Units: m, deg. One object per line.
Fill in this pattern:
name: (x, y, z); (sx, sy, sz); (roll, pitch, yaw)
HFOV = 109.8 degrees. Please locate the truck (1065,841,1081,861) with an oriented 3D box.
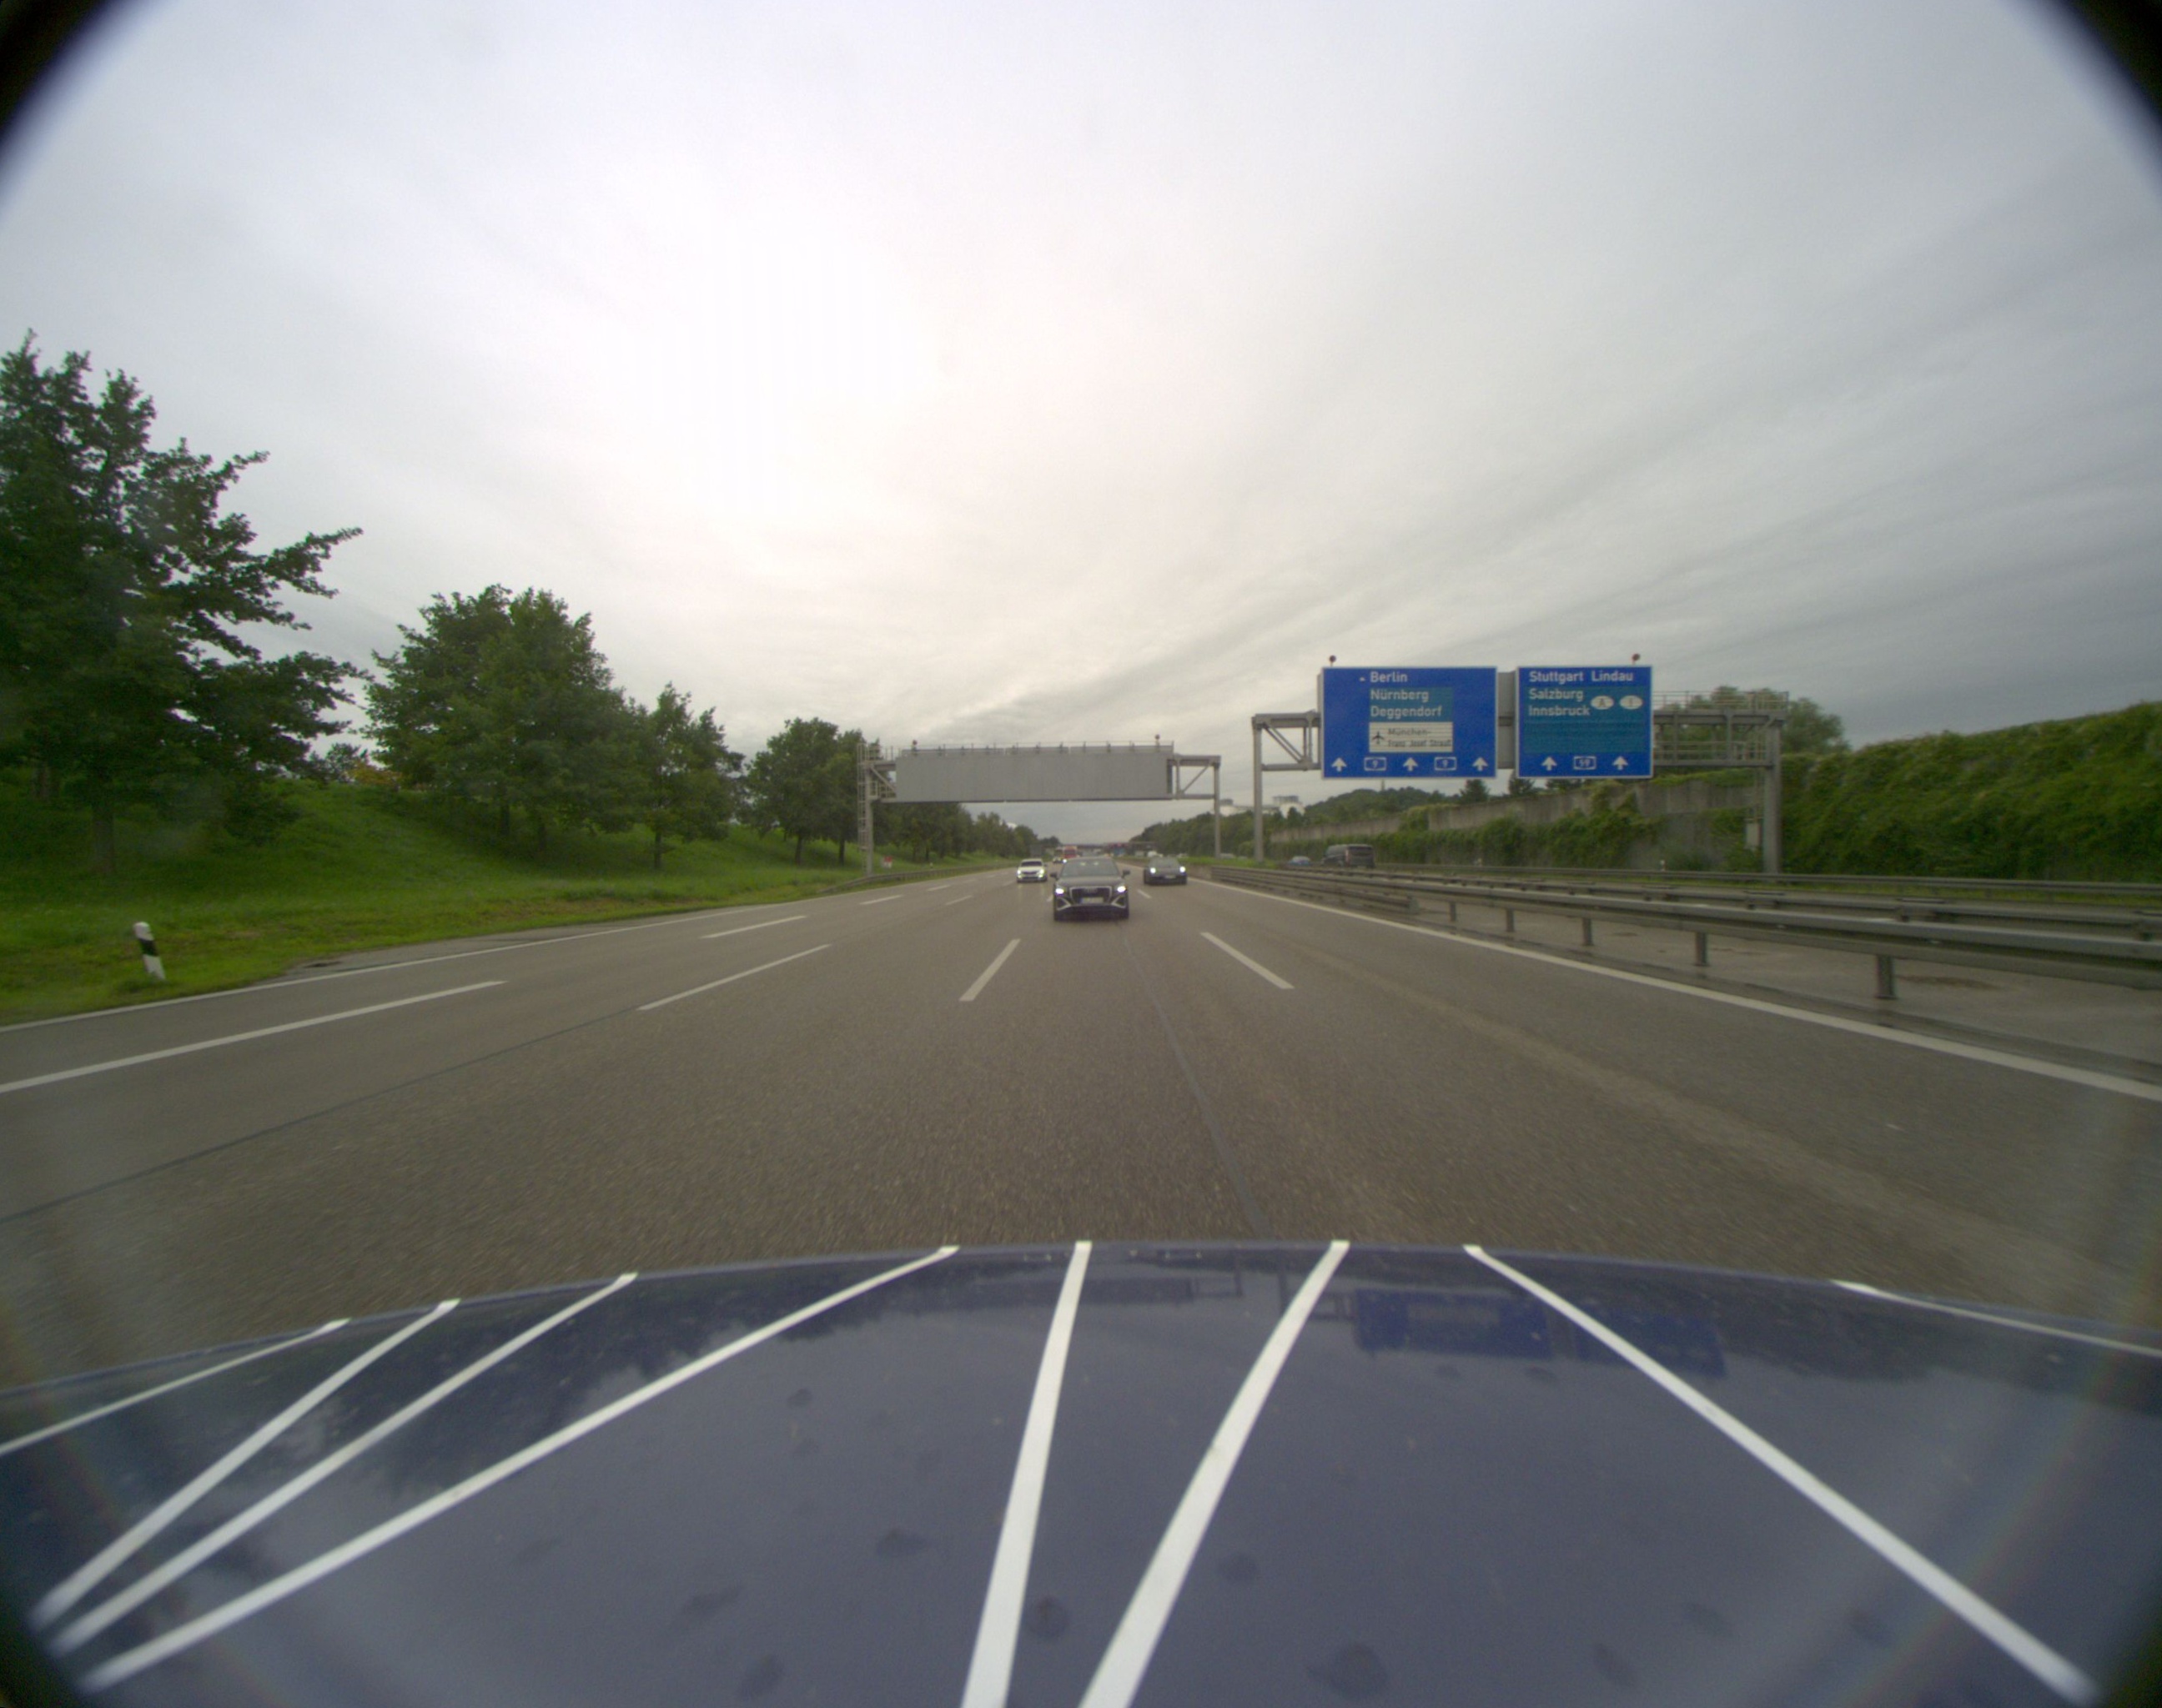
truck: (-1.489, -0.627, 150.263); (2.836, 3.634, 10.670); (-2, 1, 1)

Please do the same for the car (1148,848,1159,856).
car: (18.725, -0.587, 195.872); (2.132, 1.901, 6.533); (-2, 1, 1)

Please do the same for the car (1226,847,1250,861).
car: (16.892, 0.001, 82.003); (1.709, 1.357, 4.235); (-2, 1, 1)

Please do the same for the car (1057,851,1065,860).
car: (-4.583, 0.249, 173.765); (1.455, 2.002, 3.677); (-2, 1, 0)

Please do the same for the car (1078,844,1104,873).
car: (1.067, 0.415, 80.302); (2.459, 2.726, 8.265); (-2, 1, 1)

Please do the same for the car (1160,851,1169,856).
car: (22.489, -0.205, 205.295); (1.884, 1.336, 4.527); (-2, 0, 0)

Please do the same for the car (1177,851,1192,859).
car: (17.853, 0.172, 131.330); (1.998, 1.446, 4.934); (-2, 0, 1)

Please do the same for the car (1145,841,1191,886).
car: (4.158, 0.431, 36.756); (1.725, 2.002, 3.851); (-2, 1, 0)

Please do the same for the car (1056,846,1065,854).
car: (-5.177, -0.974, 195.691); (1.998, 2.002, 4.000); (-2, 1, 1)

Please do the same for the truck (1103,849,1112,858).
truck: (6.026, -0.065, 173.819); (1.998, 2.002, 4.000); (-2, 0, 1)

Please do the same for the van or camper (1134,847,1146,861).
van or camper: (18.248, -0.026, 235.514); (2.714, 3.925, 8.401); (-2, 1, 1)

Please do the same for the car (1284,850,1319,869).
car: (24.279, 0.547, 83.888); (2.214, 1.863, 5.753); (-2, 1, 1)

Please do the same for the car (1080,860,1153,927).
car: (0.805, 0.915, 18.941); (1.616, 1.403, 3.326); (-2, 1, 0)

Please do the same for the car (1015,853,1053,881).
car: (-2.954, 0.793, 48.770); (1.998, 1.555, 4.910); (-3, 0, 1)

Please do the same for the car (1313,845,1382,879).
car: (16.802, 0.434, 48.335); (2.214, 1.960, 6.270); (-2, 1, 1)
